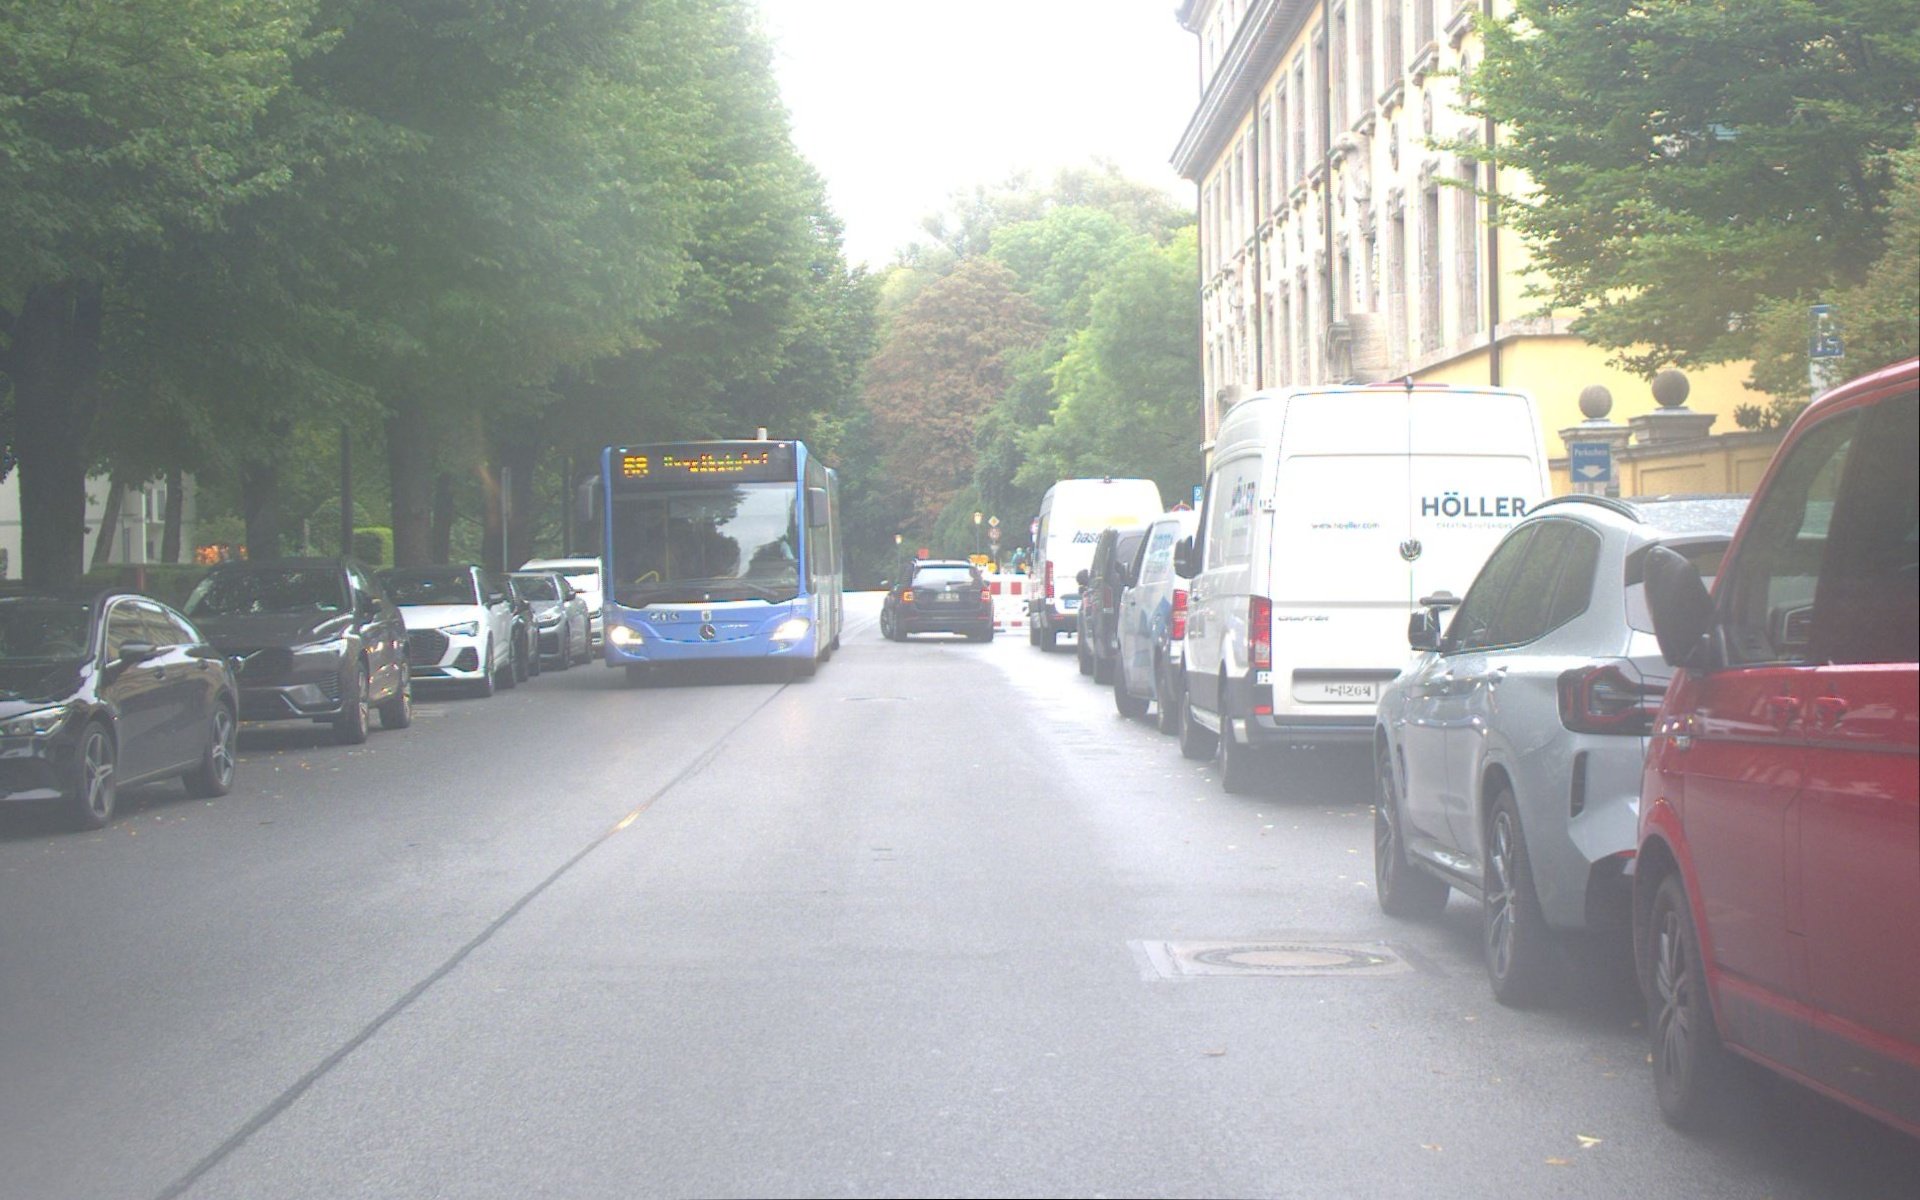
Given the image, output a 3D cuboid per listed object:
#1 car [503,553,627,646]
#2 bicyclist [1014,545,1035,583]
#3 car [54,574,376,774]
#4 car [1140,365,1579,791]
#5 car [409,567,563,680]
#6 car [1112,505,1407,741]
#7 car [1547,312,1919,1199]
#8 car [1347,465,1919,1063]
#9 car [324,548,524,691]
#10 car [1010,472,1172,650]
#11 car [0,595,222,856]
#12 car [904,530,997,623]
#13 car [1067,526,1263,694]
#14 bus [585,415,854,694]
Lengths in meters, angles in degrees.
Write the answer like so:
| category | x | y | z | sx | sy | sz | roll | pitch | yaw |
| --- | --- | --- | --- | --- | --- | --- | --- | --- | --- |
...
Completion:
| category | x | y | z | sx | sy | sz | roll | pitch | yaw |
| --- | --- | --- | --- | --- | --- | --- | --- | --- | --- |
| car | -6.516 | -0.021 | 57.042 | 1.672 | 1.464 | 4.104 | -1 | 0 | -2 |
| bicyclist | 2.578 | -1.461 | 138.130 | 0.680 | 1.499 | 0.901 | -1 | 1 | -8 |
| car | -5.854 | 0.555 | 27.458 | 1.790 | 1.449 | 3.949 | -1 | 0 | -2 |
| car | 2.514 | -0.123 | 23.185 | 2.095 | 2.479 | 5.740 | -1 | 0 | -2 |
| car | -6.518 | 0.293 | 47.638 | 1.672 | 1.464 | 4.104 | -1 | 0 | -2 |
| car | 2.526 | 0.157 | 30.279 | 2.013 | 1.900 | 5.164 | 0 | 1 | -2 |
| car | 2.745 | 0.418 | 7.398 | 1.858 | 1.961 | 5.445 | -1 | 0 | -2 |
| car | 2.609 | 0.452 | 12.283 | 1.858 | 1.735 | 4.603 | 0 | 1 | -1 |
| car | -6.372 | 0.205 | 41.299 | 1.784 | 1.592 | 4.585 | -1 | 0 | -2 |
| car | 2.049 | -0.618 | 55.956 | 2.054 | 2.664 | 7.615 | -1 | 0 | -2 |
| car | -5.909 | 0.715 | 21.282 | 1.790 | 1.433 | 4.551 | -1 | 0 | -2 |
| car | -0.152 | -0.430 | 61.511 | 1.577 | 1.578 | 4.044 | -1 | 0 | 1 |
| car | 2.407 | 0.098 | 41.547 | 1.870 | 1.862 | 4.987 | -1 | 0 | -2 |
| bus | -3.112 | -0.517 | 49.698 | 2.859 | 3.228 | 18.426 | -1 | 0 | -1 |
